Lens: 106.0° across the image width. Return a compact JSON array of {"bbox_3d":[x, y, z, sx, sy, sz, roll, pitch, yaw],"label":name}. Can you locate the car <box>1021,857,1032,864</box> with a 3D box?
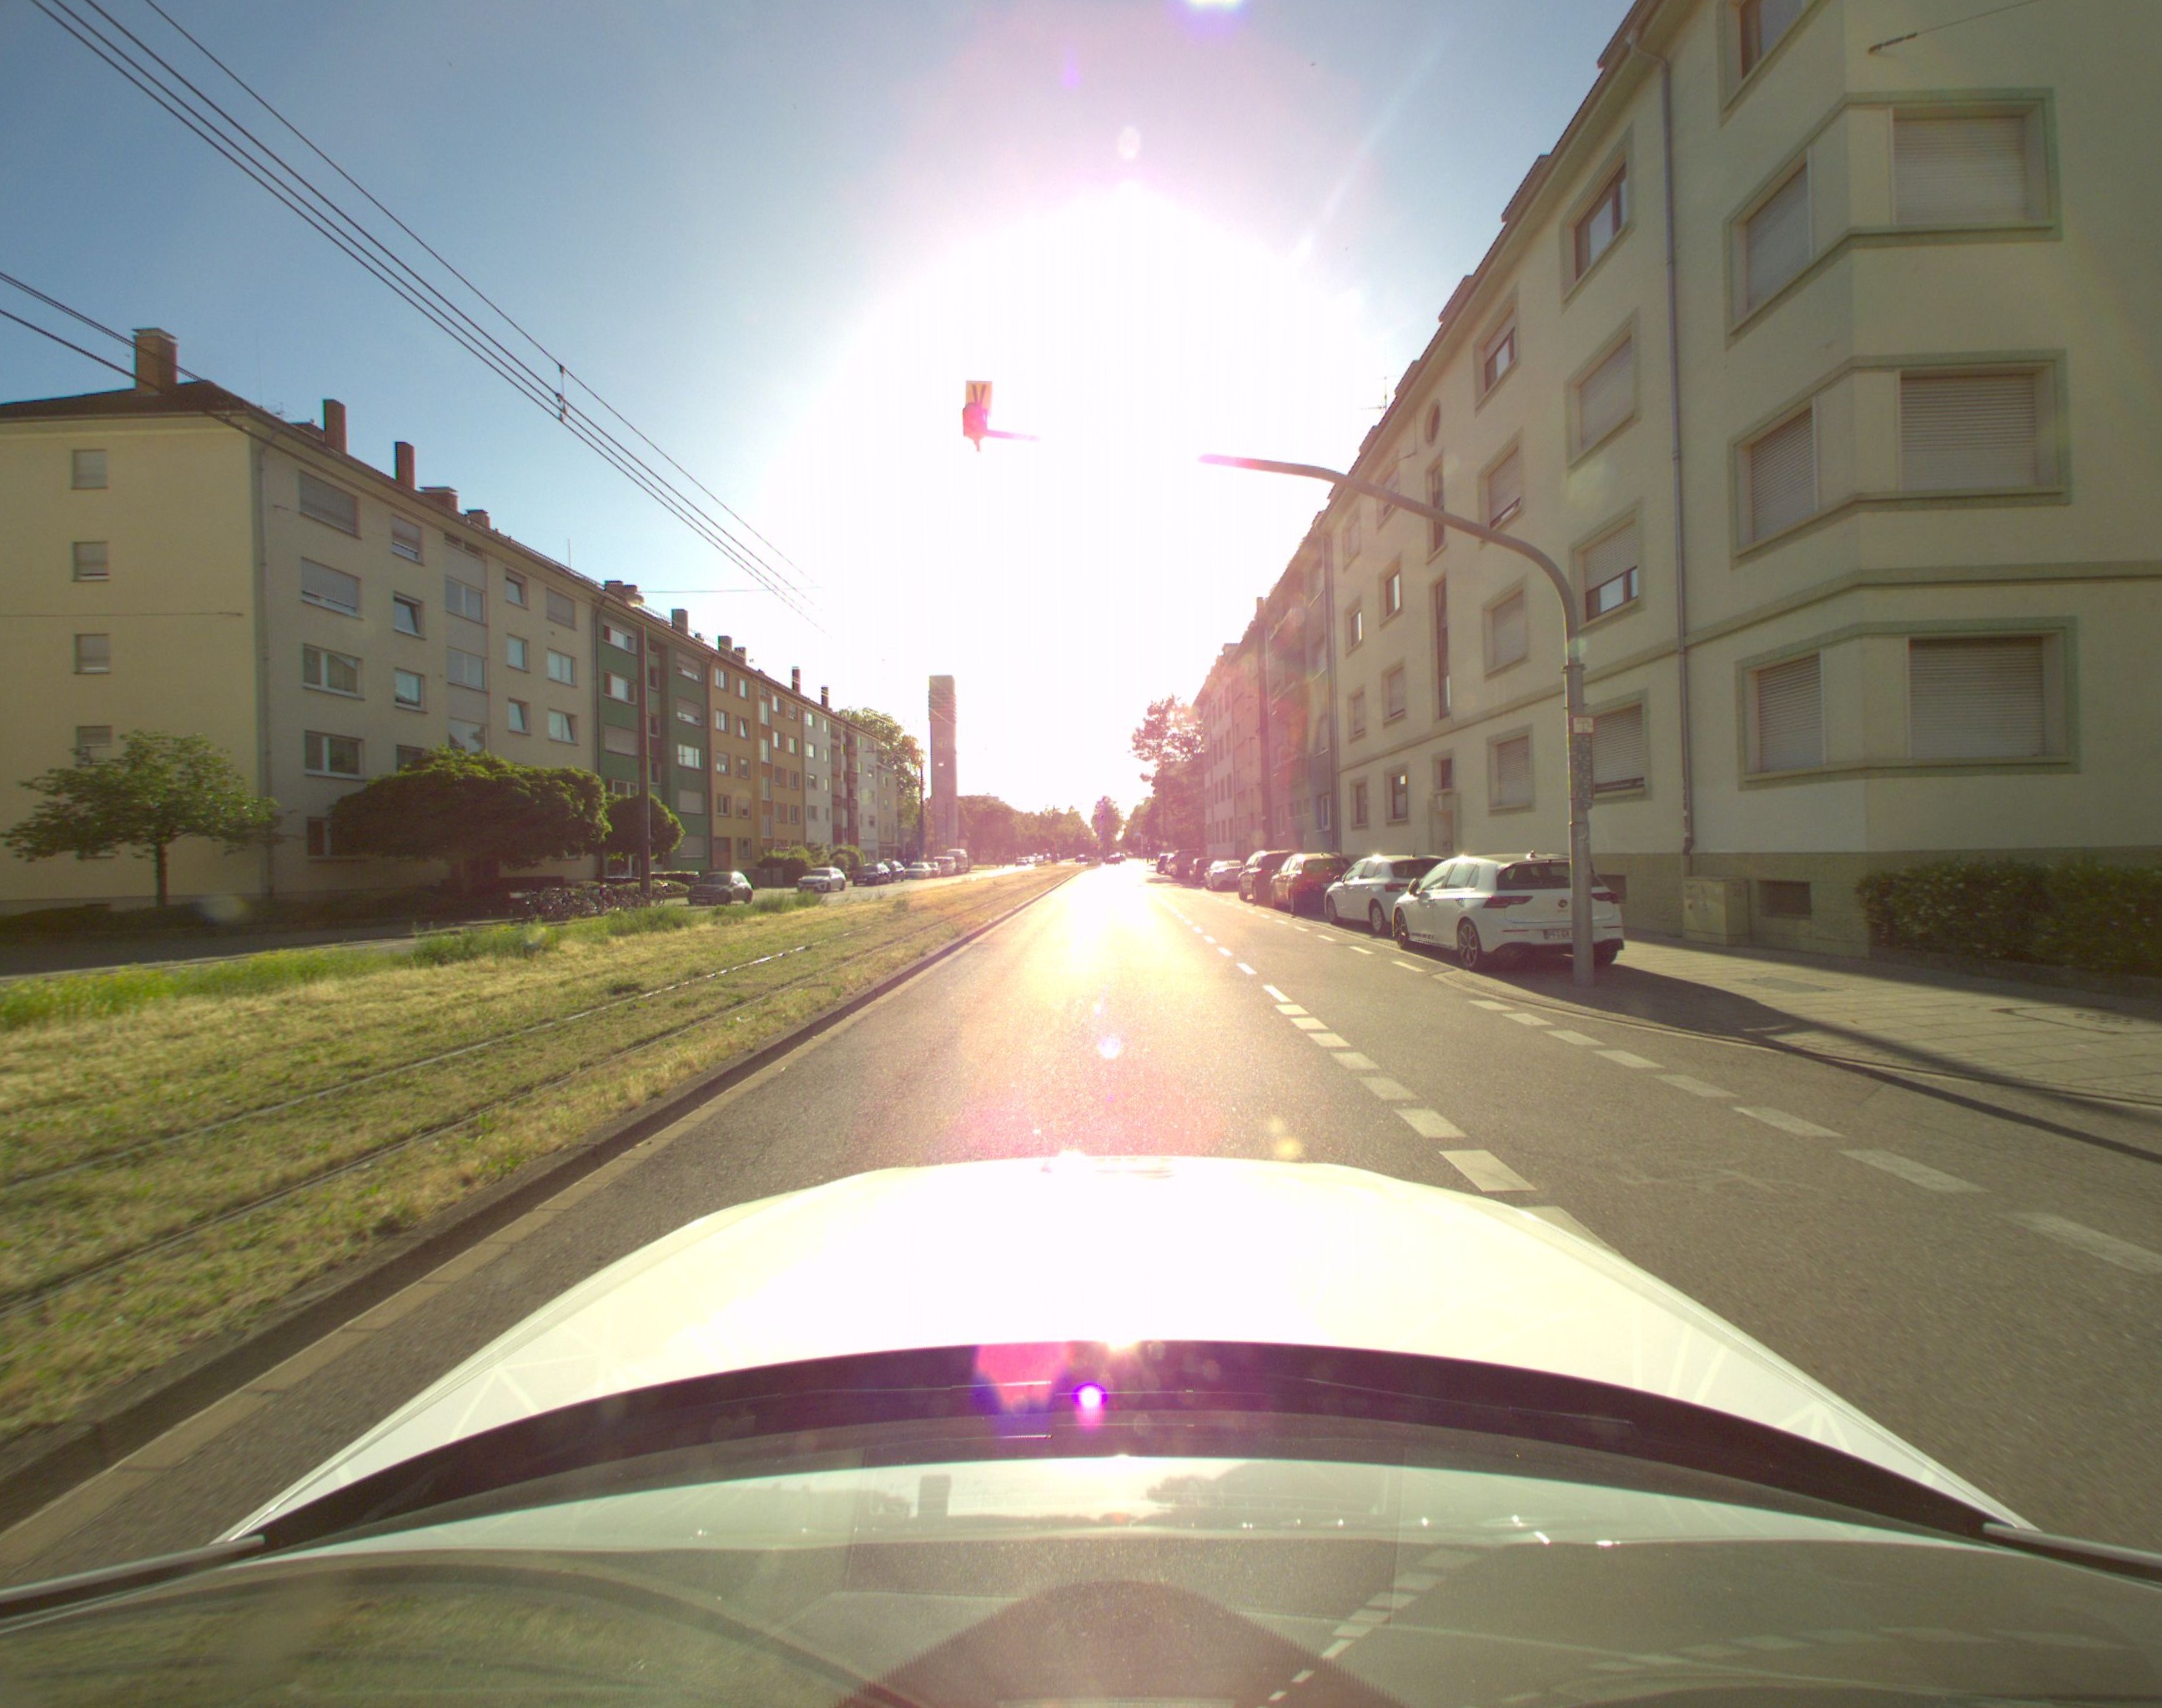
[{"bbox_3d":[-11.889,1.416,177.613,1.800,1.533,4.363,-2,0,2],"label":"car"}]

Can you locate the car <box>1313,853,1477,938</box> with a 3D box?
[{"bbox_3d":[6.230,0.739,16.681,1.631,1.458,4.079,-2,0,-2],"label":"car"}]

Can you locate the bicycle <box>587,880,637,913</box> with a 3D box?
[{"bbox_3d":[-17.360,1.563,30.109,2.029,1.092,0.619,1,0,29],"label":"bicycle"}]

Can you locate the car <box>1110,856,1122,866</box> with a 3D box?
[{"bbox_3d":[5.487,1.094,128.866,1.689,1.508,3.698,0,0,0],"label":"car"}]

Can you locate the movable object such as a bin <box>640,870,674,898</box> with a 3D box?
[{"bbox_3d":[-21.642,1.499,41.576,1.141,1.368,1.040,1,0,4],"label":"movable object such as a bin"}]

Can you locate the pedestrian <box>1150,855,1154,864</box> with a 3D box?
[{"bbox_3d":[11.431,0.903,130.934,0.526,1.528,0.629,-3,0,7],"label":"pedestrian"}]

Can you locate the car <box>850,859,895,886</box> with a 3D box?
[{"bbox_3d":[-15.313,1.330,60.051,1.986,1.838,4.611,1,0,2],"label":"car"}]

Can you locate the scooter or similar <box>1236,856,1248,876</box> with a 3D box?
[{"bbox_3d":[10.392,0.795,52.647,0.457,1.238,1.339,-5,0,2],"label":"scooter or similar"}]

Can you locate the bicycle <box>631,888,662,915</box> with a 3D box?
[{"bbox_3d":[-16.505,1.792,30.969,0.376,0.866,2.048,1,0,-10],"label":"bicycle"}]

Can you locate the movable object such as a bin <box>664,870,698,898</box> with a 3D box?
[{"bbox_3d":[-20.357,1.523,41.455,1.141,1.368,1.040,1,0,4],"label":"movable object such as a bin"}]

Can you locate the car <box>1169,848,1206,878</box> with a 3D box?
[{"bbox_3d":[7.442,0.579,57.479,1.906,1.899,5.137,-5,0,1],"label":"car"}]

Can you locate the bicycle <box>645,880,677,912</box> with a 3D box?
[{"bbox_3d":[-16.052,1.584,31.185,0.509,1.092,1.929,1,0,-10],"label":"bicycle"}]

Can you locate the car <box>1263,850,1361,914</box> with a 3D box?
[{"bbox_3d":[6.242,0.696,22.463,1.629,1.517,4.191,-2,0,2],"label":"car"}]

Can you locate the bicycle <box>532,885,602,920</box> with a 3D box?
[{"bbox_3d":[-17.266,1.614,27.368,2.037,1.092,0.617,1,0,7],"label":"bicycle"}]

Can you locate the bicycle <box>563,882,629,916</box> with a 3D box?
[{"bbox_3d":[-17.106,1.576,28.733,2.037,1.092,0.617,1,0,7],"label":"bicycle"}]

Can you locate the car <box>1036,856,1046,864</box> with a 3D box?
[{"bbox_3d":[-8.767,1.333,178.476,1.681,1.533,4.363,-1,0,2],"label":"car"}]

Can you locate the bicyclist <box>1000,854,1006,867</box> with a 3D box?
[{"bbox_3d":[-11.866,1.024,124.346,0.770,2.013,0.648,1,0,2],"label":"bicyclist"}]

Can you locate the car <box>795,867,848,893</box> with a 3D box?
[{"bbox_3d":[-15.747,1.550,49.642,1.722,1.454,4.378,0,0,2],"label":"car"}]

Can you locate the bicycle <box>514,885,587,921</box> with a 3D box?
[{"bbox_3d":[-17.352,1.600,26.651,2.037,1.092,0.617,1,0,7],"label":"bicycle"}]

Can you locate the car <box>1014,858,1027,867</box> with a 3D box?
[{"bbox_3d":[-10.084,1.398,136.072,1.687,1.448,4.220,-3,0,3],"label":"car"}]

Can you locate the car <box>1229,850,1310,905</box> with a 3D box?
[{"bbox_3d":[6.352,0.730,27.917,1.630,1.647,4.373,-4,0,0],"label":"car"}]

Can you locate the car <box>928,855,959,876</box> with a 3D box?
[{"bbox_3d":[-14.524,1.188,86.356,2.024,2.021,5.375,1,0,3],"label":"car"}]

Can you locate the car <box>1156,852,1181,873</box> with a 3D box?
[{"bbox_3d":[7.772,0.714,72.779,1.871,1.716,4.937,-4,0,3],"label":"car"}]

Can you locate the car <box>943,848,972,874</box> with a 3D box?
[{"bbox_3d":[-14.193,0.807,93.830,2.024,2.868,6.233,0,0,3],"label":"car"}]

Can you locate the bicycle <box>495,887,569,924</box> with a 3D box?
[{"bbox_3d":[-17.454,1.619,25.901,2.037,1.092,0.617,1,0,7],"label":"bicycle"}]

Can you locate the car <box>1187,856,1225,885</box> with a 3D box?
[{"bbox_3d":[7.041,0.890,46.068,1.629,1.454,3.791,-4,0,2],"label":"car"}]

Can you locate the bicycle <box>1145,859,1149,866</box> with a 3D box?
[{"bbox_3d":[10.363,1.334,127.267,0.645,0.972,1.806,1,0,5],"label":"bicycle"}]

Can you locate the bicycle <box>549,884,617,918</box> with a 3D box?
[{"bbox_3d":[-17.184,1.601,28.099,2.037,1.092,0.617,1,0,7],"label":"bicycle"}]

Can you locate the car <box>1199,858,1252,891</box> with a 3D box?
[{"bbox_3d":[6.740,0.937,38.373,1.696,1.275,4.304,-5,0,1],"label":"car"}]

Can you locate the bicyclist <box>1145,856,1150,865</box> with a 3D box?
[{"bbox_3d":[10.381,0.999,127.285,0.635,1.323,0.804,1,0,4],"label":"bicyclist"}]

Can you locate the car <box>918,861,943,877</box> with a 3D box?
[{"bbox_3d":[-14.834,1.484,80.586,1.689,1.515,4.325,0,0,-1],"label":"car"}]

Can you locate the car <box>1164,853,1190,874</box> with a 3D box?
[{"bbox_3d":[7.839,0.762,66.836,1.589,1.578,3.894,-4,0,-1],"label":"car"}]

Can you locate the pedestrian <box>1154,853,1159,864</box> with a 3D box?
[{"bbox_3d":[12.166,0.740,130.808,0.699,1.789,0.695,-4,1,7],"label":"pedestrian"}]

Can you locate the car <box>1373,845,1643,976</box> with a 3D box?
[{"bbox_3d":[5.737,0.636,11.642,1.687,1.458,4.382,-2,0,2],"label":"car"}]

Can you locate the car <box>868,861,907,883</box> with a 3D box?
[{"bbox_3d":[-15.492,1.417,65.555,1.986,1.607,4.153,1,0,2],"label":"car"}]

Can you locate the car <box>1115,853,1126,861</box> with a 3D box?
[{"bbox_3d":[8.236,0.632,168.748,1.883,1.611,4.511,1,0,8],"label":"car"}]

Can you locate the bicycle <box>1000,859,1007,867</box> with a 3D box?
[{"bbox_3d":[-11.823,1.424,124.568,0.765,1.146,2.476,-3,0,2],"label":"bicycle"}]

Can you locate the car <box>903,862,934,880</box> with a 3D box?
[{"bbox_3d":[-14.897,1.532,74.782,1.886,1.491,4.703,0,0,0],"label":"car"}]

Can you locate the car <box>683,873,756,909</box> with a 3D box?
[{"bbox_3d":[-16.270,1.621,36.813,1.630,1.442,3.733,1,0,0],"label":"car"}]
